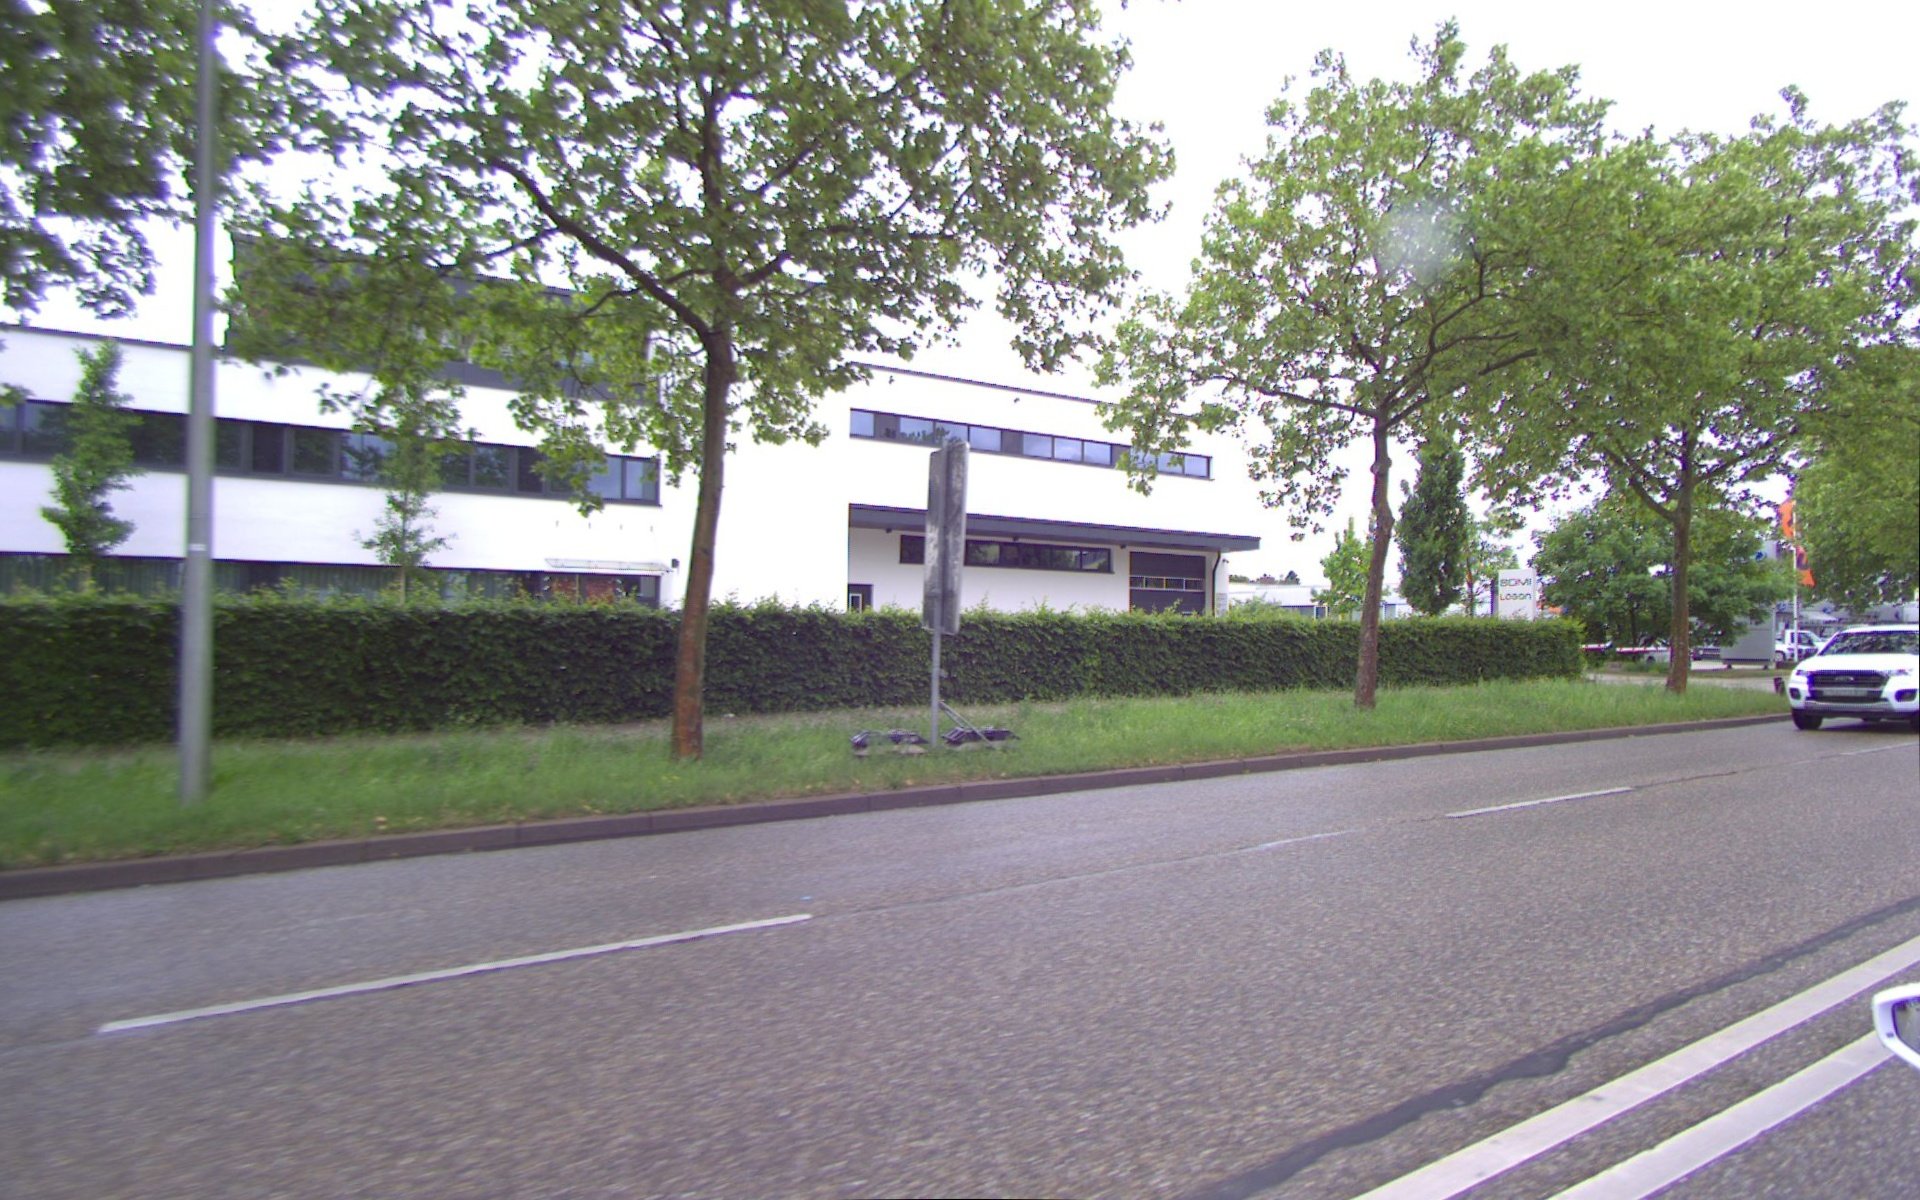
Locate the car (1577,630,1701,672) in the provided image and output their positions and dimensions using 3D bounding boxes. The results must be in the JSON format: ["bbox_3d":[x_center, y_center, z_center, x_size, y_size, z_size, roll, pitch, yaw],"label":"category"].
[{"bbox_3d":[26.508,1.961,39.162,5.188,1.516,2.107,2,-2,-32],"label":"car"}]

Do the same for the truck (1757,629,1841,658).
[{"bbox_3d":[55.427,2.858,66.414,1.984,1.862,3.954,2,-2,-40],"label":"truck"}]

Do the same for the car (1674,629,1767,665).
[{"bbox_3d":[44.736,2.741,59.156,1.862,2.040,3.965,1,-2,-32],"label":"car"}]

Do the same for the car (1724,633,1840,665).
[{"bbox_3d":[52.728,3.082,64.565,2.391,1.928,5.344,1,-2,-33],"label":"car"}]

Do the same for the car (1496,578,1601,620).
[{"bbox_3d":[28.167,0.005,48.191,1.940,1.914,3.969,1,-2,-29],"label":"car"}]

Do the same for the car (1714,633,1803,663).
[{"bbox_3d":[49.707,2.947,62.613,1.862,1.790,3.965,1,-2,-32],"label":"car"}]

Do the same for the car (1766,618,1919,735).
[{"bbox_3d":[16.743,1.304,18.038,5.282,1.829,1.901,1,-3,-32],"label":"car"}]
